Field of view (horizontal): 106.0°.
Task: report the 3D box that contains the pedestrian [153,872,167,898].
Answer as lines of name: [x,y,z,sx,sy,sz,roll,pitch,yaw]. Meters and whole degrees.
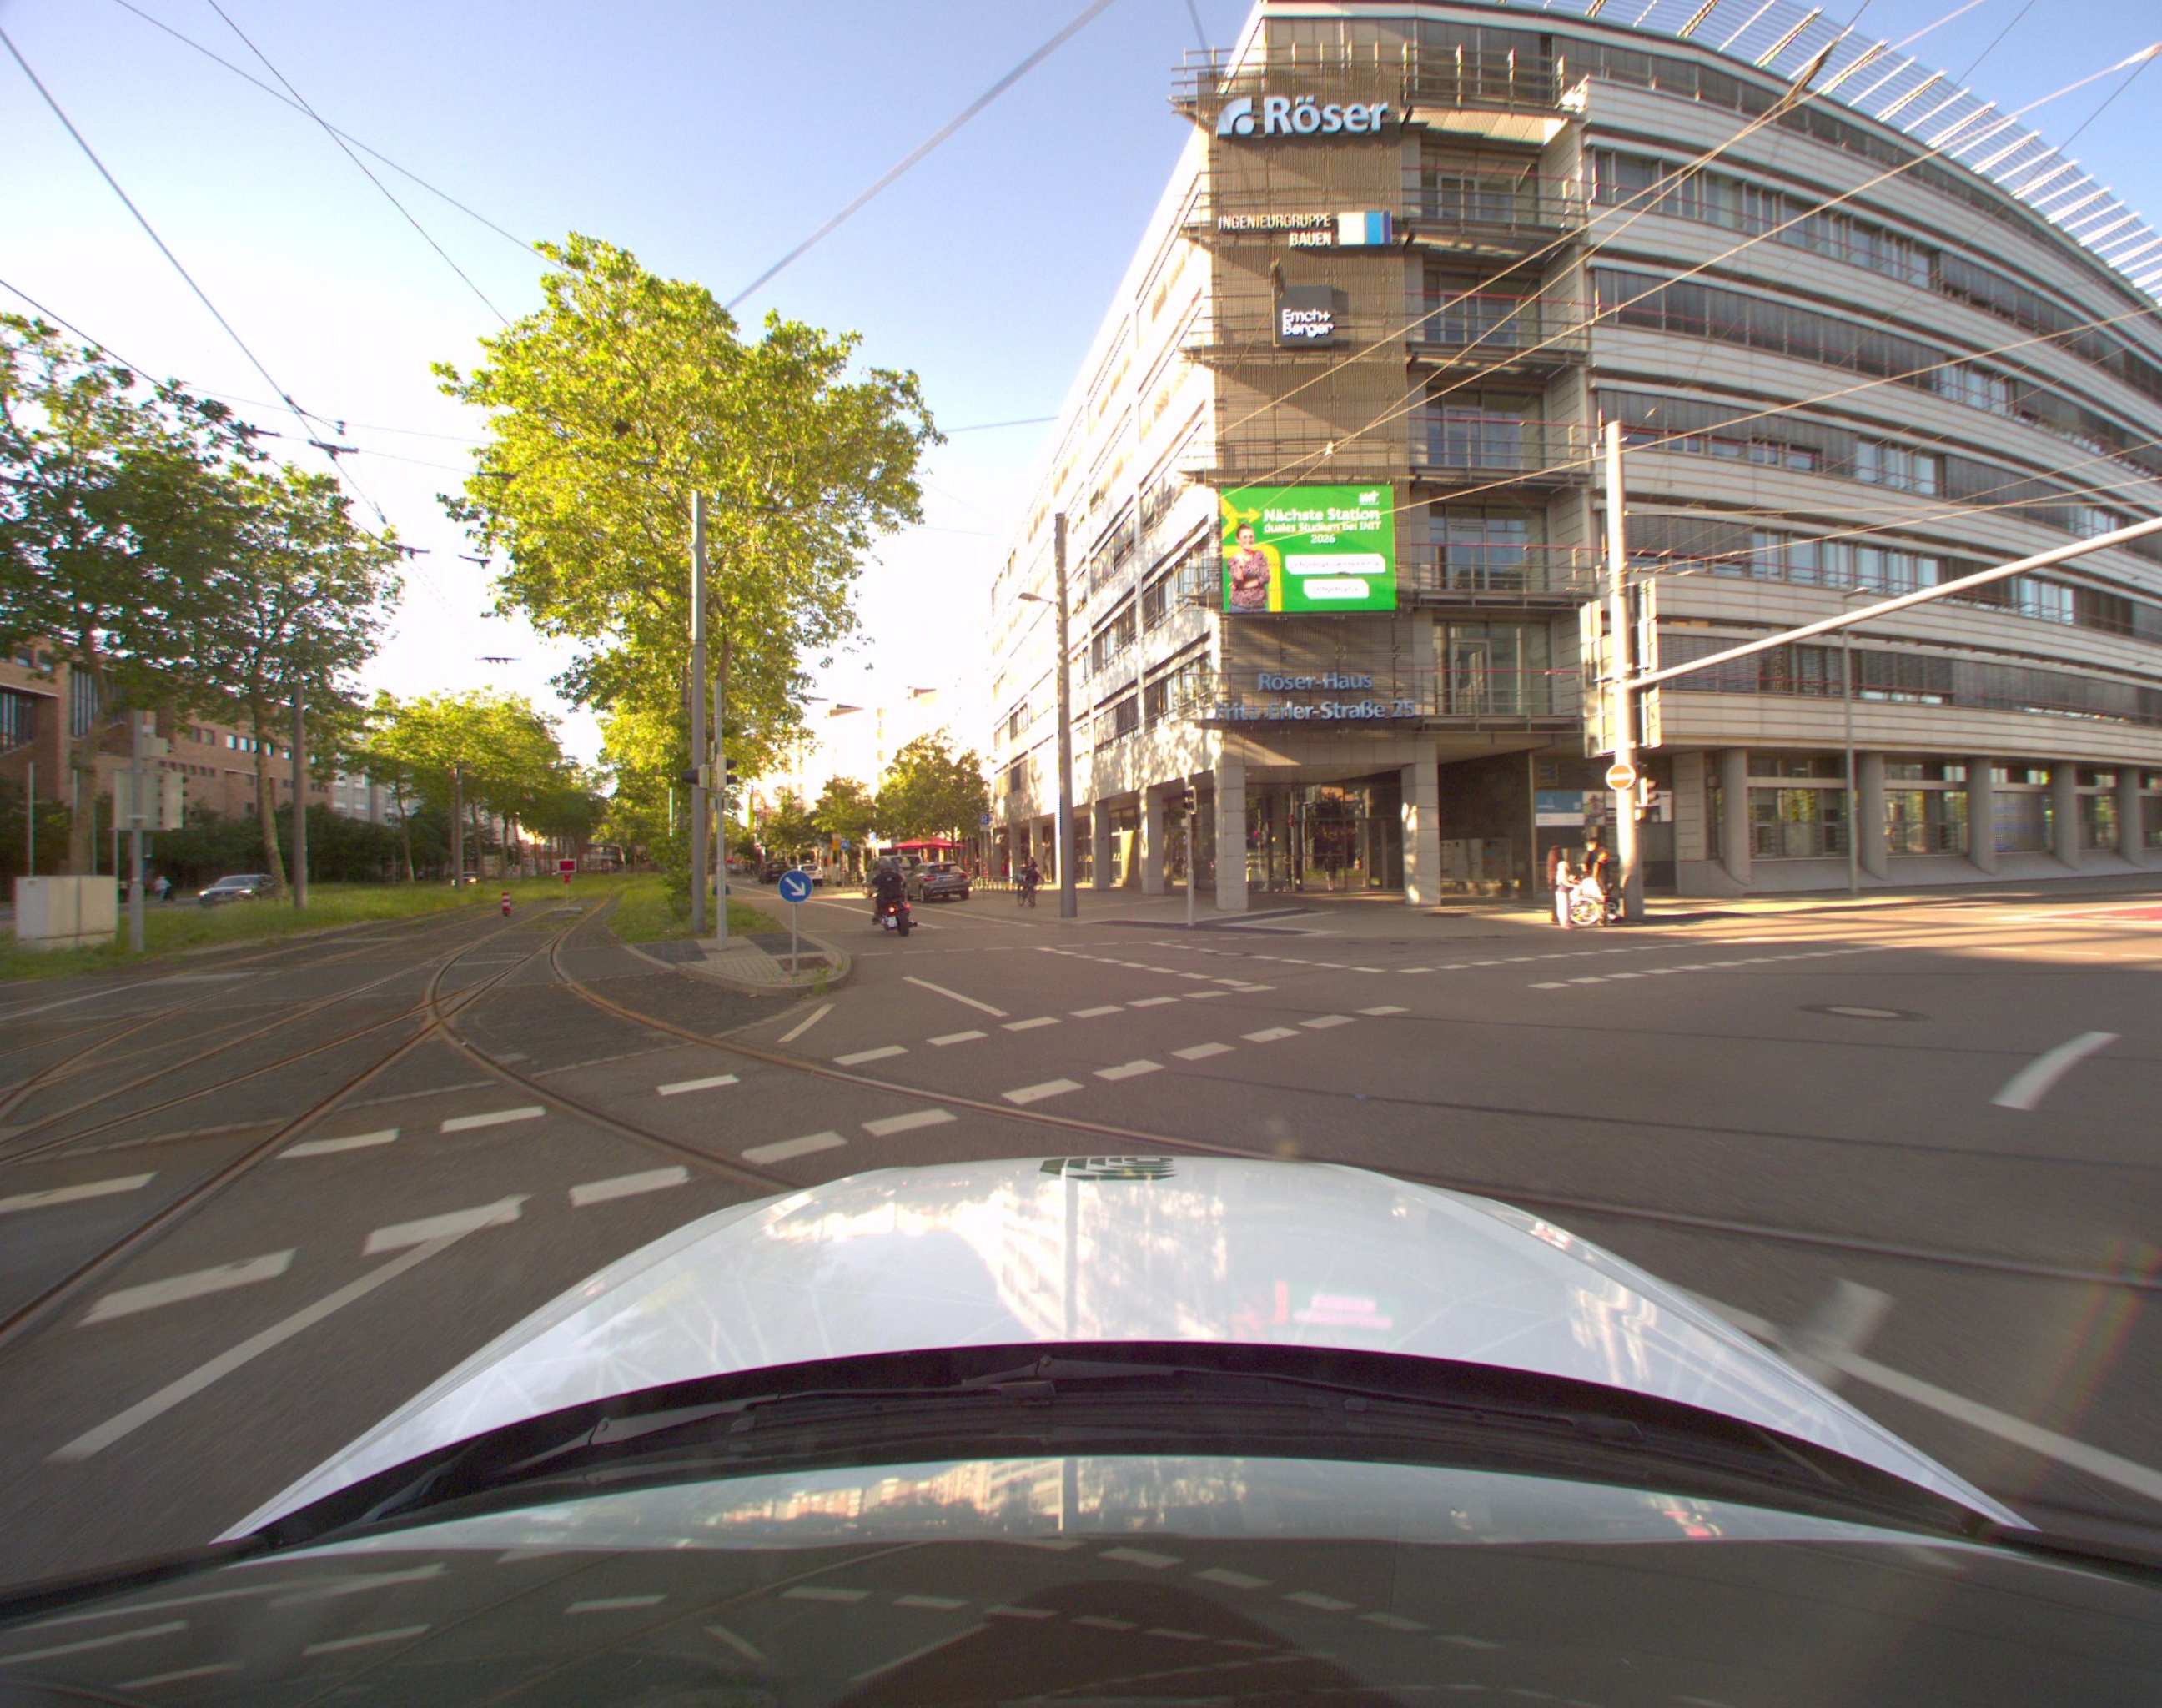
pedestrian: [-56.006,1.889,49.546,0.366,1.523,0.420,-2,0,-20]

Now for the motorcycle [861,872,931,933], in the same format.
motorcycle: [-3.893,0.963,16.980,1.010,1.125,2.305,-2,0,-23]

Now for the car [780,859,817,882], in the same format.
car: [-21.953,1.260,63.205,1.999,1.629,4.047,-3,0,-29]

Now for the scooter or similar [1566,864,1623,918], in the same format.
scooter or similar: [11.270,0.806,17.896,1.005,1.129,0.554,-2,0,32]

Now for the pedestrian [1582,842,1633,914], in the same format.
pedestrian: [12.302,0.545,19.023,0.655,1.617,0.718,-1,0,-21]

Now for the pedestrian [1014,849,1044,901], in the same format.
pedestrian: [-1.687,0.674,26.474,0.608,1.611,0.830,-5,2,-26]

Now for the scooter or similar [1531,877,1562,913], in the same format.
scooter or similar: [10.998,0.959,19.240,0.609,0.790,0.664,0,1,30]

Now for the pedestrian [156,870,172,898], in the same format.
pedestrian: [-56.293,1.815,50.019,0.437,1.704,0.477,-2,0,-21]

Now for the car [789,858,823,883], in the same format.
car: [-19.547,1.170,57.839,1.868,1.638,3.836,-2,0,-25]

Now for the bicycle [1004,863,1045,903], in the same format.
bicycle: [-1.837,0.902,26.317,0.614,1.163,1.832,-5,3,-25]

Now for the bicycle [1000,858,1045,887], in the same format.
bicycle: [-2.551,0.819,35.582,1.841,1.151,0.466,-3,1,-23]

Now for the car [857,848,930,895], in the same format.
car: [-8.596,0.771,36.950,1.934,1.843,4.880,-4,1,-28]

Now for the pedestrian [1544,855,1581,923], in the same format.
pedestrian: [10.231,0.736,17.295,0.630,1.402,0.550,-2,0,31]

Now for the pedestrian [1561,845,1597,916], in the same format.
pedestrian: [11.555,0.610,18.915,0.695,1.600,0.664,0,1,30]

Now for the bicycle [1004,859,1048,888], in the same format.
bicycle: [-2.370,0.824,35.143,1.841,1.151,0.466,-3,1,-23]

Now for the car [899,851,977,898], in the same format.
car: [-5.704,0.778,32.082,1.869,1.572,4.378,-4,1,-25]

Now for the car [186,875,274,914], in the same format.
car: [-40.561,1.905,38.954,1.835,1.562,4.299,-1,1,-31]

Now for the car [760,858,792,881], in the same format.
car: [-27.443,1.368,73.100,2.042,1.976,4.374,-3,1,-28]

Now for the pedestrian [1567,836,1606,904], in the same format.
pedestrian: [12.993,0.402,20.955,0.639,1.715,0.693,-2,0,13]

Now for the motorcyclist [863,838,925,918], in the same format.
motorcyclist: [-3.913,0.466,16.984,1.027,1.552,1.277,-2,1,-23]

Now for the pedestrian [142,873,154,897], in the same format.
pedestrian: [-56.444,1.860,49.256,0.319,1.457,0.339,-2,0,-22]

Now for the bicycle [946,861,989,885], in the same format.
bicycle: [-5.443,0.889,39.031,1.879,1.101,0.733,-1,0,-31]

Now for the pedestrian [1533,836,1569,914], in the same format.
pedestrian: [10.580,0.458,18.328,0.630,1.708,0.585,-2,0,31]
